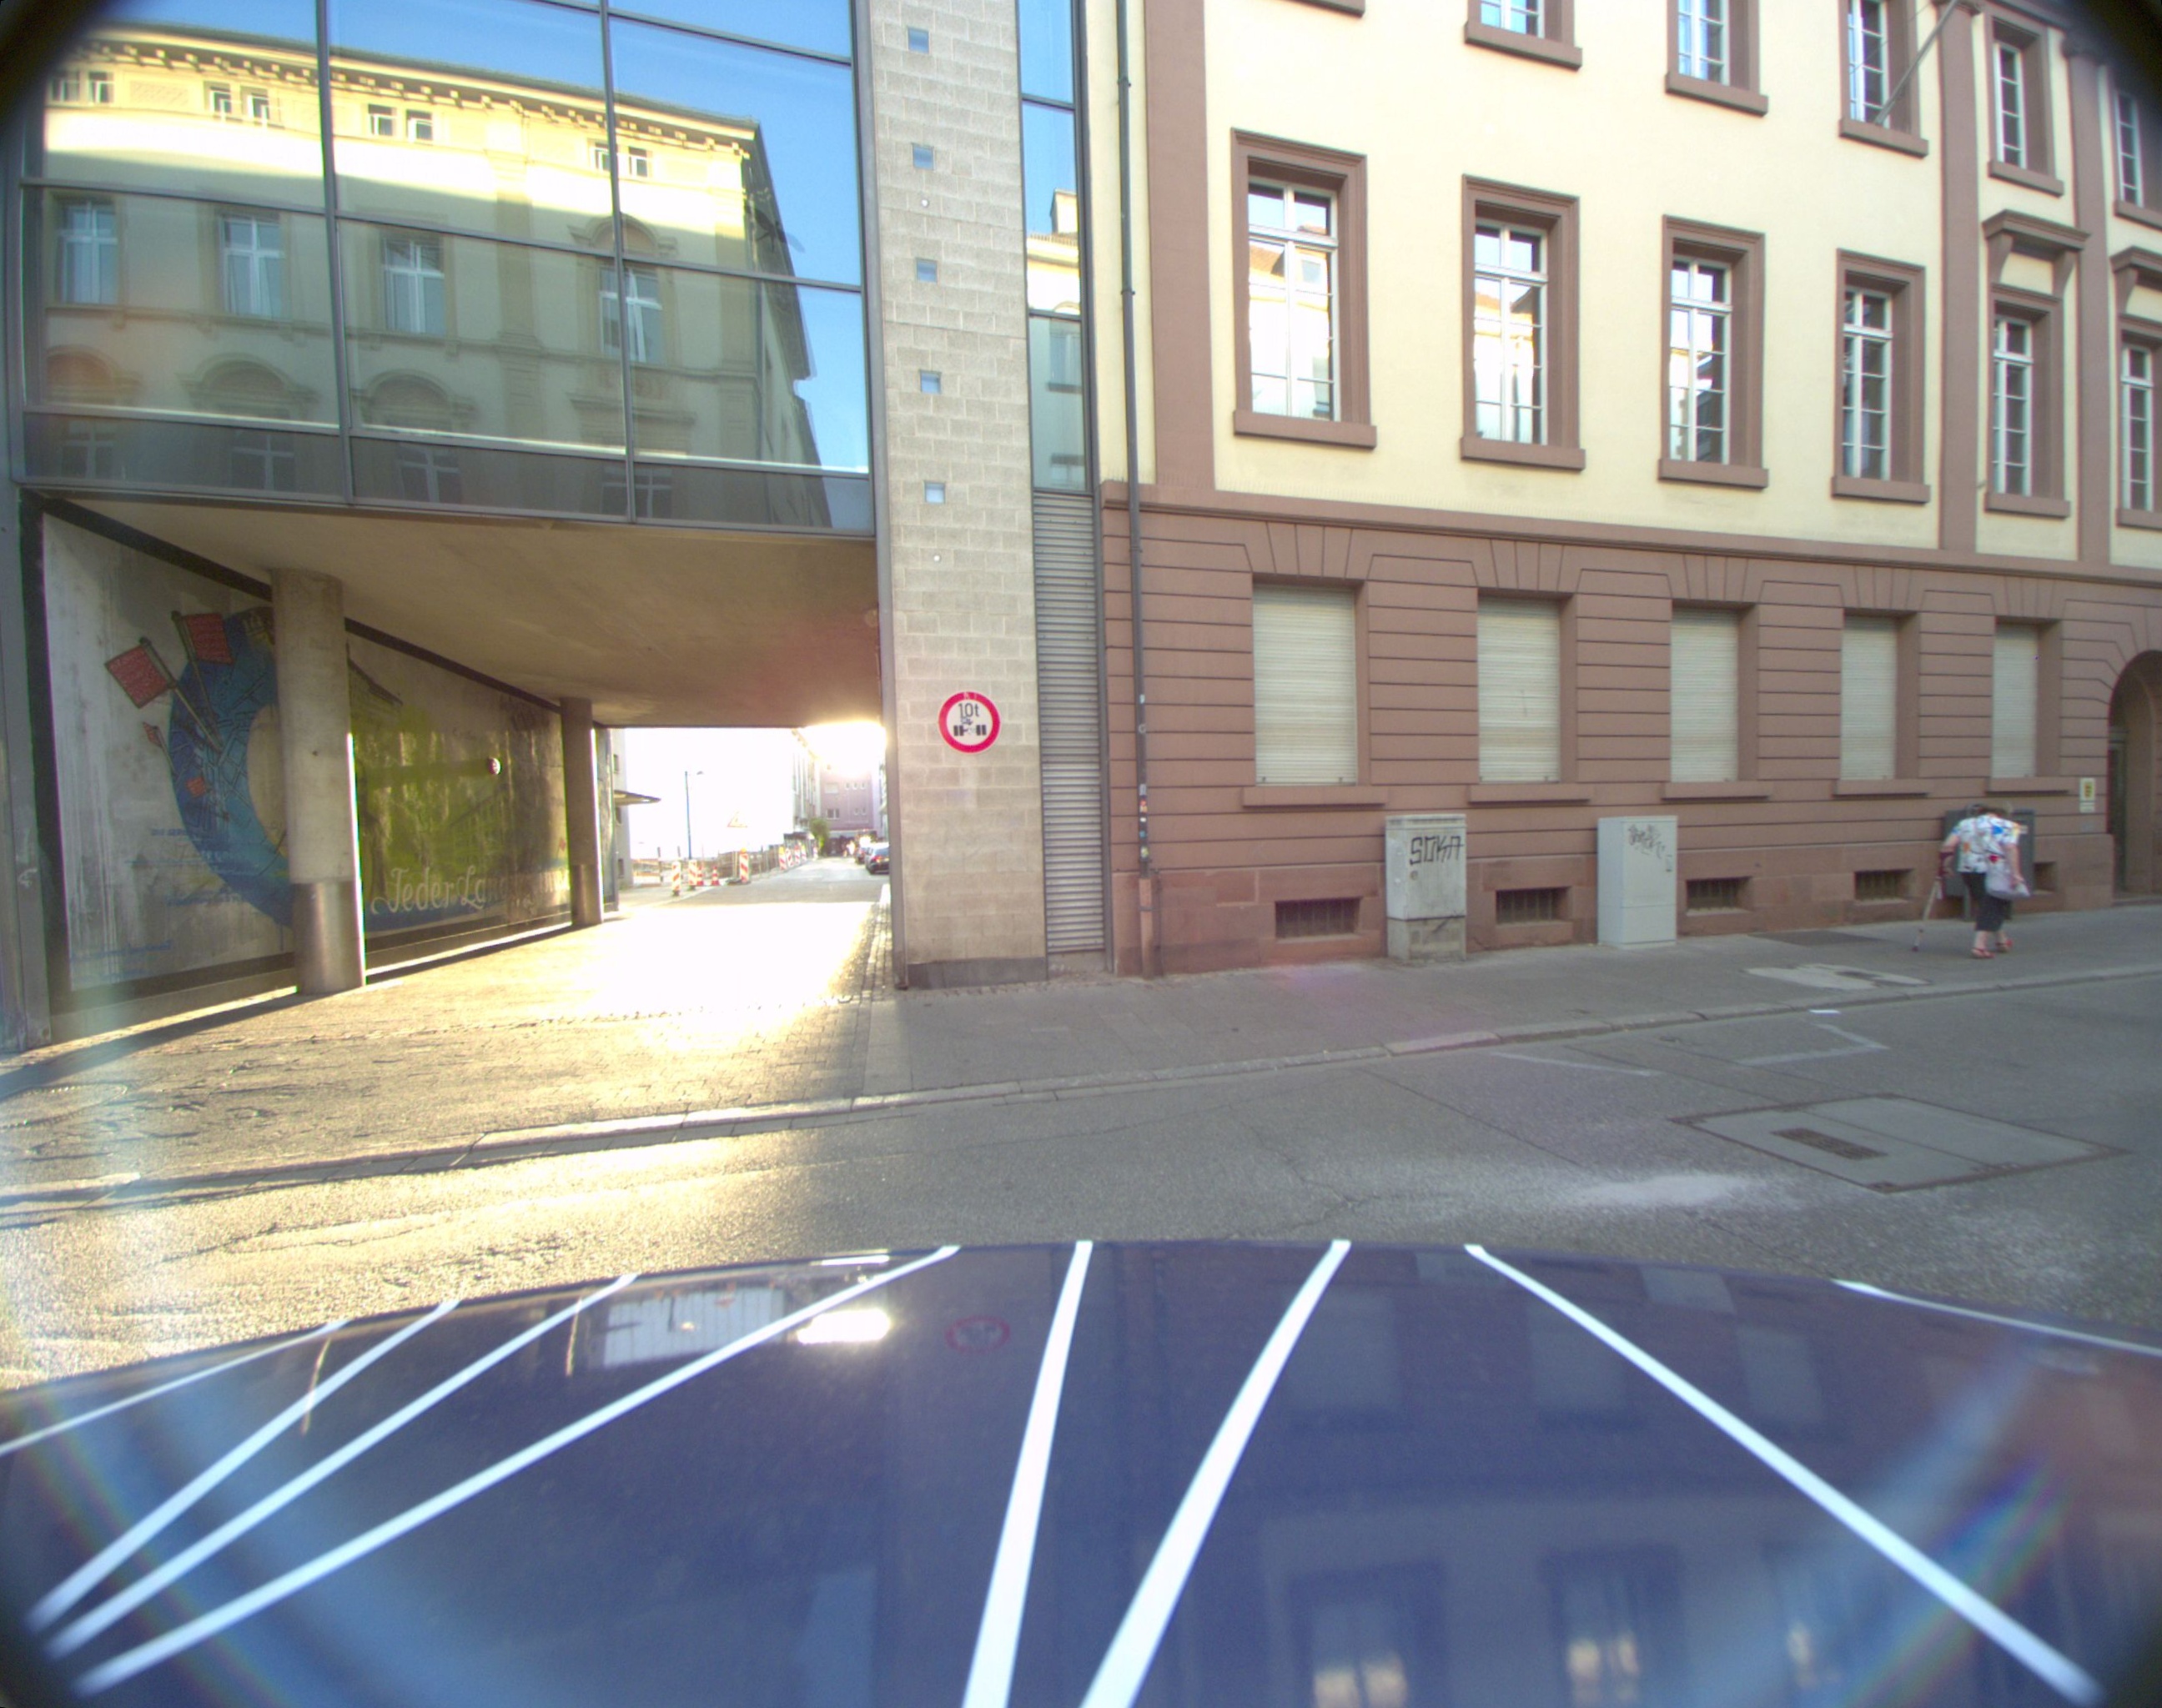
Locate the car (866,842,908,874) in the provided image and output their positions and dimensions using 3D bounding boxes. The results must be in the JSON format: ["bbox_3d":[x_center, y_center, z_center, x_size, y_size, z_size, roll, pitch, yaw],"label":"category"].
[{"bbox_3d":[-9.687,0.178,37.818,1.603,1.484,3.438,-2,1,-21],"label":"car"}]

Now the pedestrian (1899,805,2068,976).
[{"bbox_3d":[9.403,0.344,7.941,0.931,1.662,0.811,-2,2,-15],"label":"pedestrian"}]

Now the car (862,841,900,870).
[{"bbox_3d":[-10.940,0.062,41.390,1.603,1.484,3.438,-2,1,-21],"label":"car"}]

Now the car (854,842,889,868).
[{"bbox_3d":[-12.478,0.048,45.134,1.603,1.484,3.438,-2,1,-21],"label":"car"}]

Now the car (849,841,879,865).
[{"bbox_3d":[-14.509,-0.079,50.759,1.603,1.484,3.438,-2,1,-21],"label":"car"}]

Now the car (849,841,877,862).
[{"bbox_3d":[-15.933,-0.183,55.457,1.603,1.484,3.438,-2,1,-21],"label":"car"}]
